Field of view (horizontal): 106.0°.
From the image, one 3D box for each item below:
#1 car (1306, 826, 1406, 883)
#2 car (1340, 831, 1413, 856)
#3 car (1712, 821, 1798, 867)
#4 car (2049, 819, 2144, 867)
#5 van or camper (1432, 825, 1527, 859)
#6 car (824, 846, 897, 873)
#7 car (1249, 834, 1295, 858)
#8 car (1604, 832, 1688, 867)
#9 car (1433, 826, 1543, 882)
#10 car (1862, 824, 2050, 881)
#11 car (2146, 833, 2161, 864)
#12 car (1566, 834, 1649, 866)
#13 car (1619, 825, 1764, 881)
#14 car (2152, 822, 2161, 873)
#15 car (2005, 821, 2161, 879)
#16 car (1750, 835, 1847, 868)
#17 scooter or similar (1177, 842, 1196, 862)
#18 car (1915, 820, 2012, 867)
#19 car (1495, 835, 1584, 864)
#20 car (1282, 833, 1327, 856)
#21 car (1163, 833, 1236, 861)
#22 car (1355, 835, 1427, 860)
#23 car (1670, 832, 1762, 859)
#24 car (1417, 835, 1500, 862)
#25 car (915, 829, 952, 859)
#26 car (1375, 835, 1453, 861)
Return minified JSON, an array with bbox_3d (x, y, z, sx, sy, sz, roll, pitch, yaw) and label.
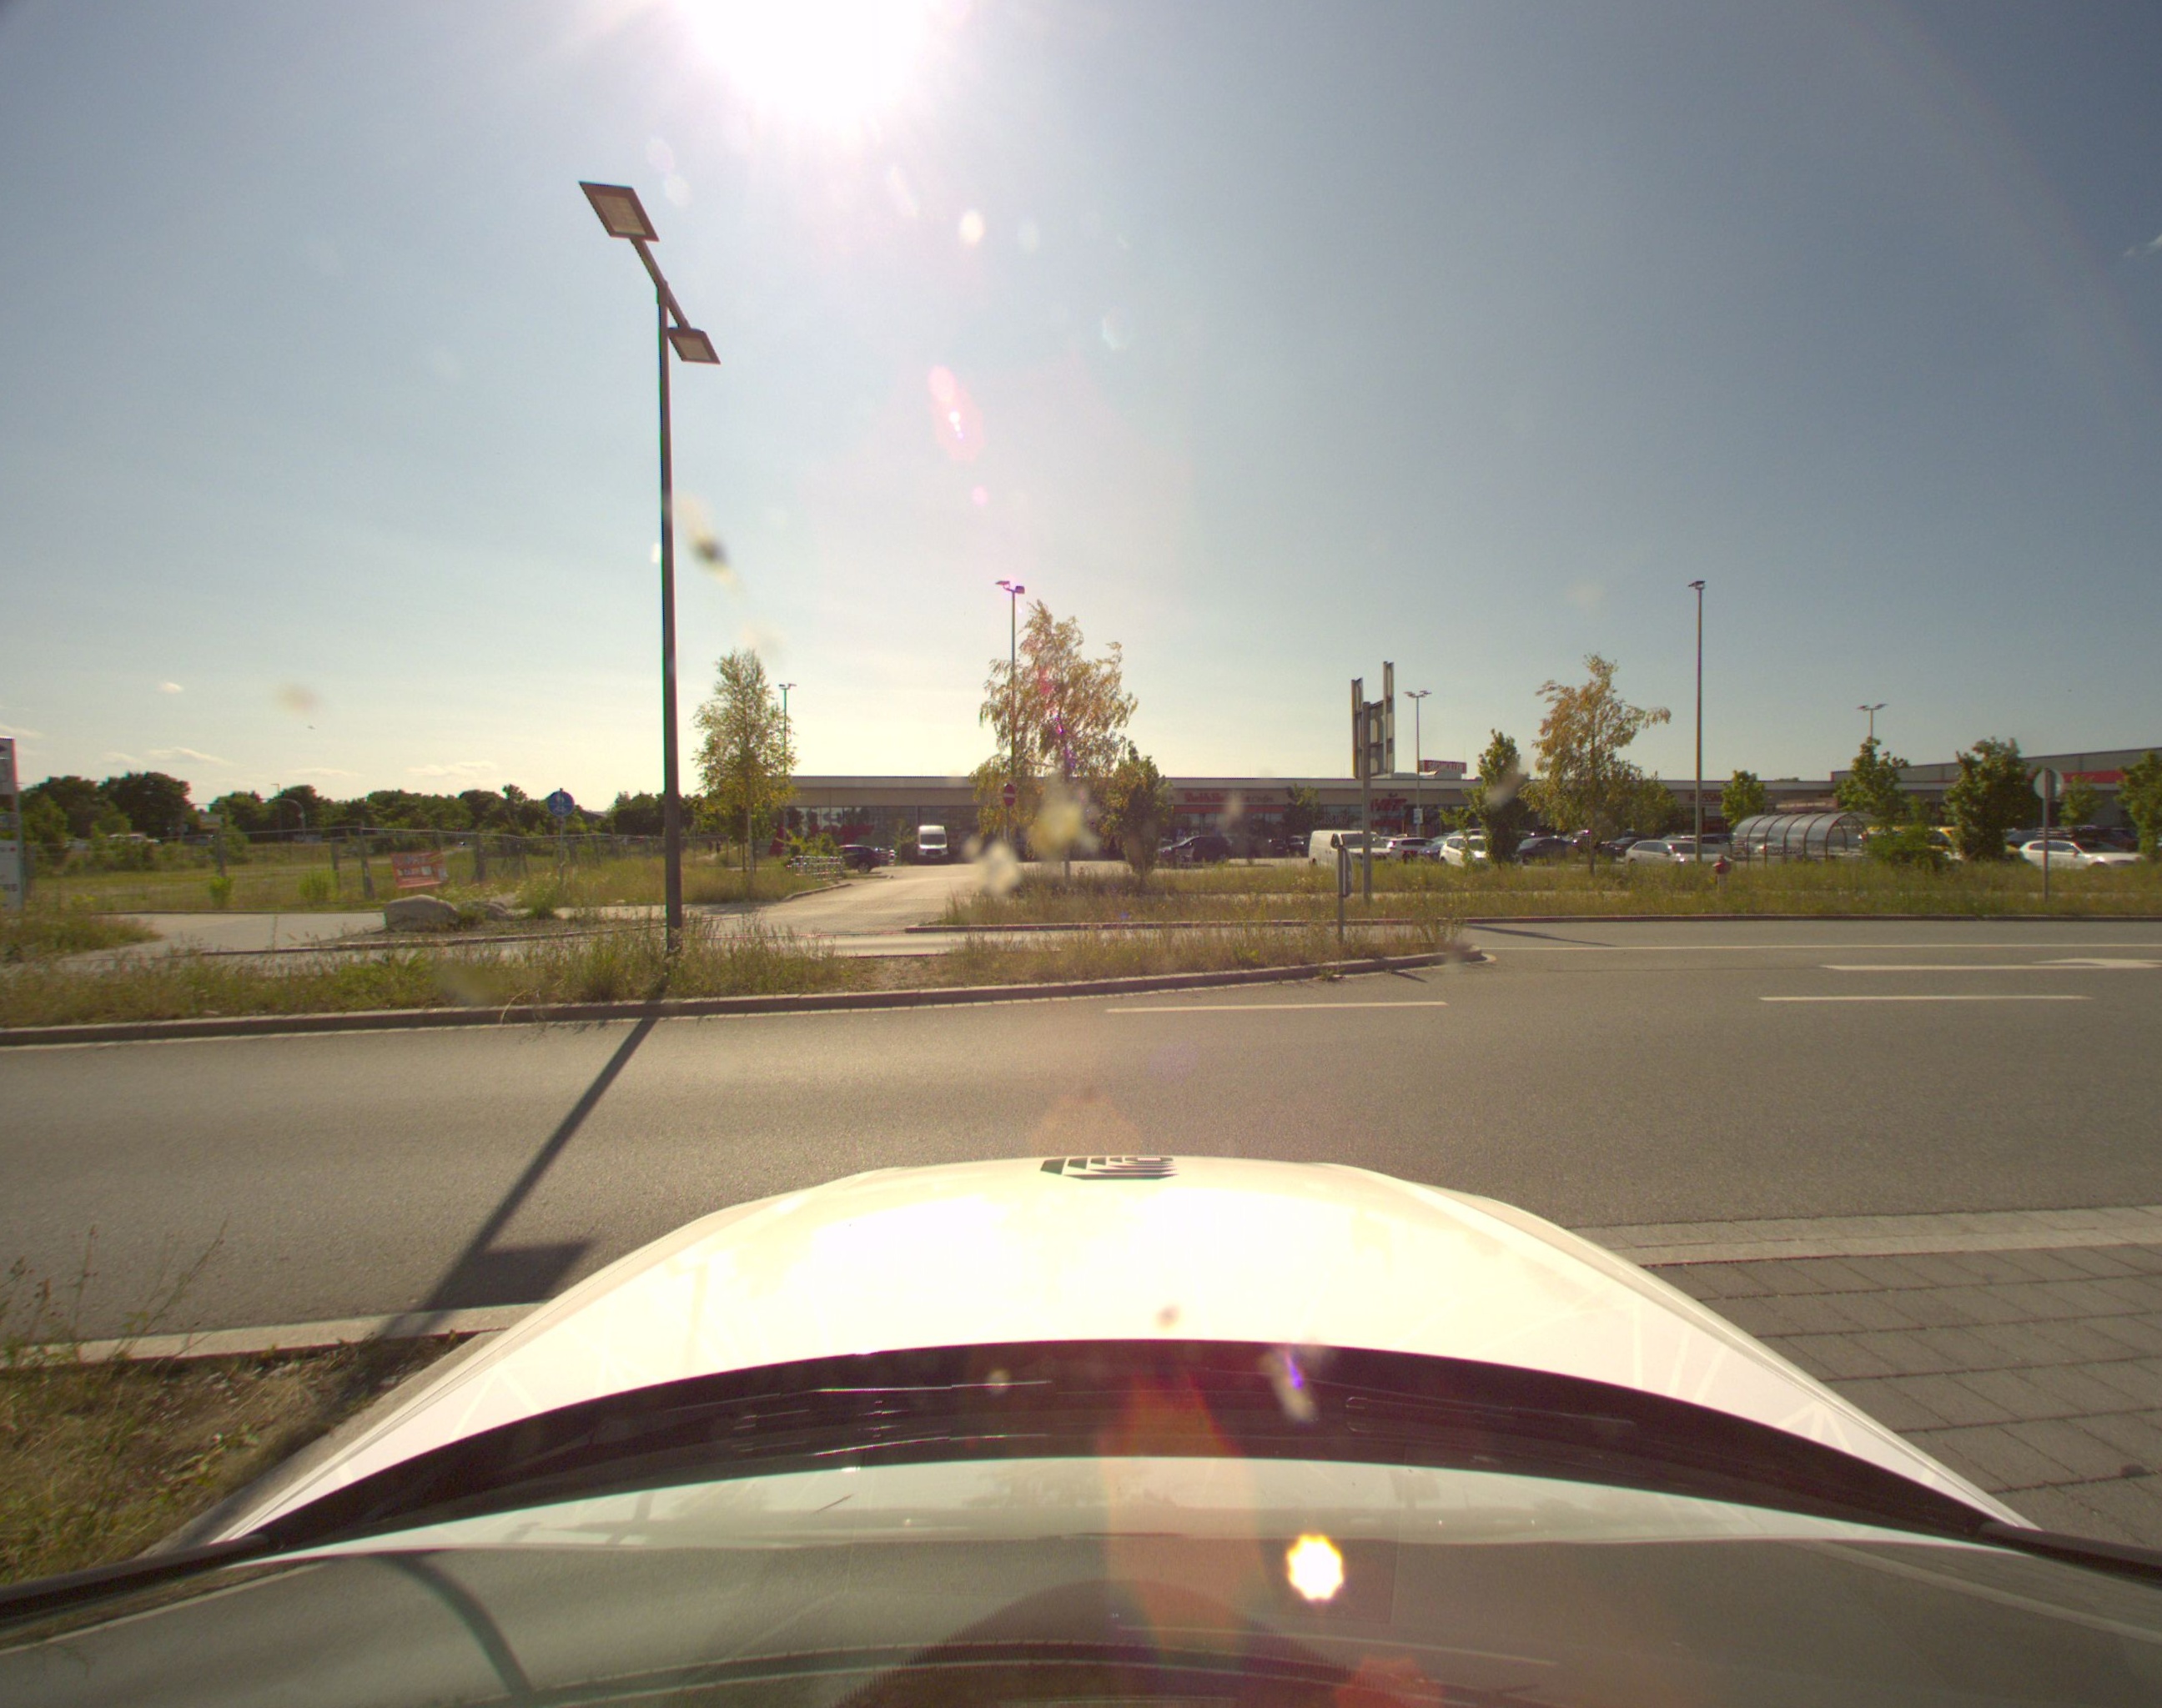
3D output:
[{"bbox_3d":[10.586,-0.047,31.807,2.075,2.013,5.226,0,1,-1],"label":"car"},{"bbox_3d":[20.628,-0.748,57.015,4.466,1.706,1.870,0,0,-6],"label":"car"},{"bbox_3d":[42.253,-0.625,51.052,4.478,2.821,1.990,0,0,-16],"label":"car"},{"bbox_3d":[60.606,-0.662,48.619,4.478,2.821,1.990,0,0,-16],"label":"car"},{"bbox_3d":[24.419,-0.754,49.976,5.031,2.013,1.995,-1,1,-8],"label":"van or camper"},{"bbox_3d":[-12.187,0.299,45.309,3.837,1.423,1.764,0,0,-13],"label":"car"},{"bbox_3d":[14.318,-0.634,61.248,1.994,1.707,3.987,-1,1,-10],"label":"car"},{"bbox_3d":[36.026,-0.297,51.943,4.478,2.191,1.990,0,0,-16],"label":"car"},{"bbox_3d":[15.791,-0.062,31.938,2.147,2.013,5.123,0,1,5],"label":"car"},{"bbox_3d":[33.276,-0.115,31.255,2.145,2.013,5.127,0,1,8],"label":"car"},{"bbox_3d":[73.734,-0.369,53.991,4.469,2.037,1.994,0,0,-10],"label":"car"},{"bbox_3d":[35.518,-0.282,55.001,4.463,2.102,1.996,0,0,-6],"label":"car"},{"bbox_3d":[23.578,-0.087,31.759,2.147,2.013,5.123,0,1,5],"label":"car"},{"bbox_3d":[43.102,-0.197,30.126,1.865,2.013,4.150,0,1,10],"label":"car"},{"bbox_3d":[38.291,-0.193,30.835,1.927,2.013,4.420,0,1,8],"label":"car"},{"bbox_3d":[42.463,-0.167,48.237,4.469,1.863,1.994,0,0,-10],"label":"car"},{"bbox_3d":[5.764,-0.113,44.523,0.942,1.079,0.651,-1,1,-5],"label":"scooter or similar"},{"bbox_3d":[54.369,-0.657,50.206,4.469,2.821,1.994,0,0,-10],"label":"car"},{"bbox_3d":[25.086,-0.262,44.609,3.984,1.508,1.870,0,0,-8],"label":"car"},{"bbox_3d":[16.926,-0.760,61.948,1.991,1.707,3.992,-1,1,-6],"label":"car"},{"bbox_3d":[6.701,-0.392,46.359,3.793,1.508,1.727,-1,1,-9],"label":"car"},{"bbox_3d":[18.452,-0.414,48.529,3.723,1.390,1.725,-1,1,-13],"label":"car"},{"bbox_3d":[36.580,-0.469,46.975,4.332,1.520,1.651,0,0,-8],"label":"car"},{"bbox_3d":[19.958,-0.306,43.056,3.723,1.390,1.725,-1,1,-13],"label":"car"},{"bbox_3d":[-10.457,-0.723,57.359,2.225,1.977,6.667,-1,1,-13],"label":"car"},{"bbox_3d":[18.562,-0.365,45.486,3.723,1.390,1.725,-1,1,-13],"label":"car"}]
